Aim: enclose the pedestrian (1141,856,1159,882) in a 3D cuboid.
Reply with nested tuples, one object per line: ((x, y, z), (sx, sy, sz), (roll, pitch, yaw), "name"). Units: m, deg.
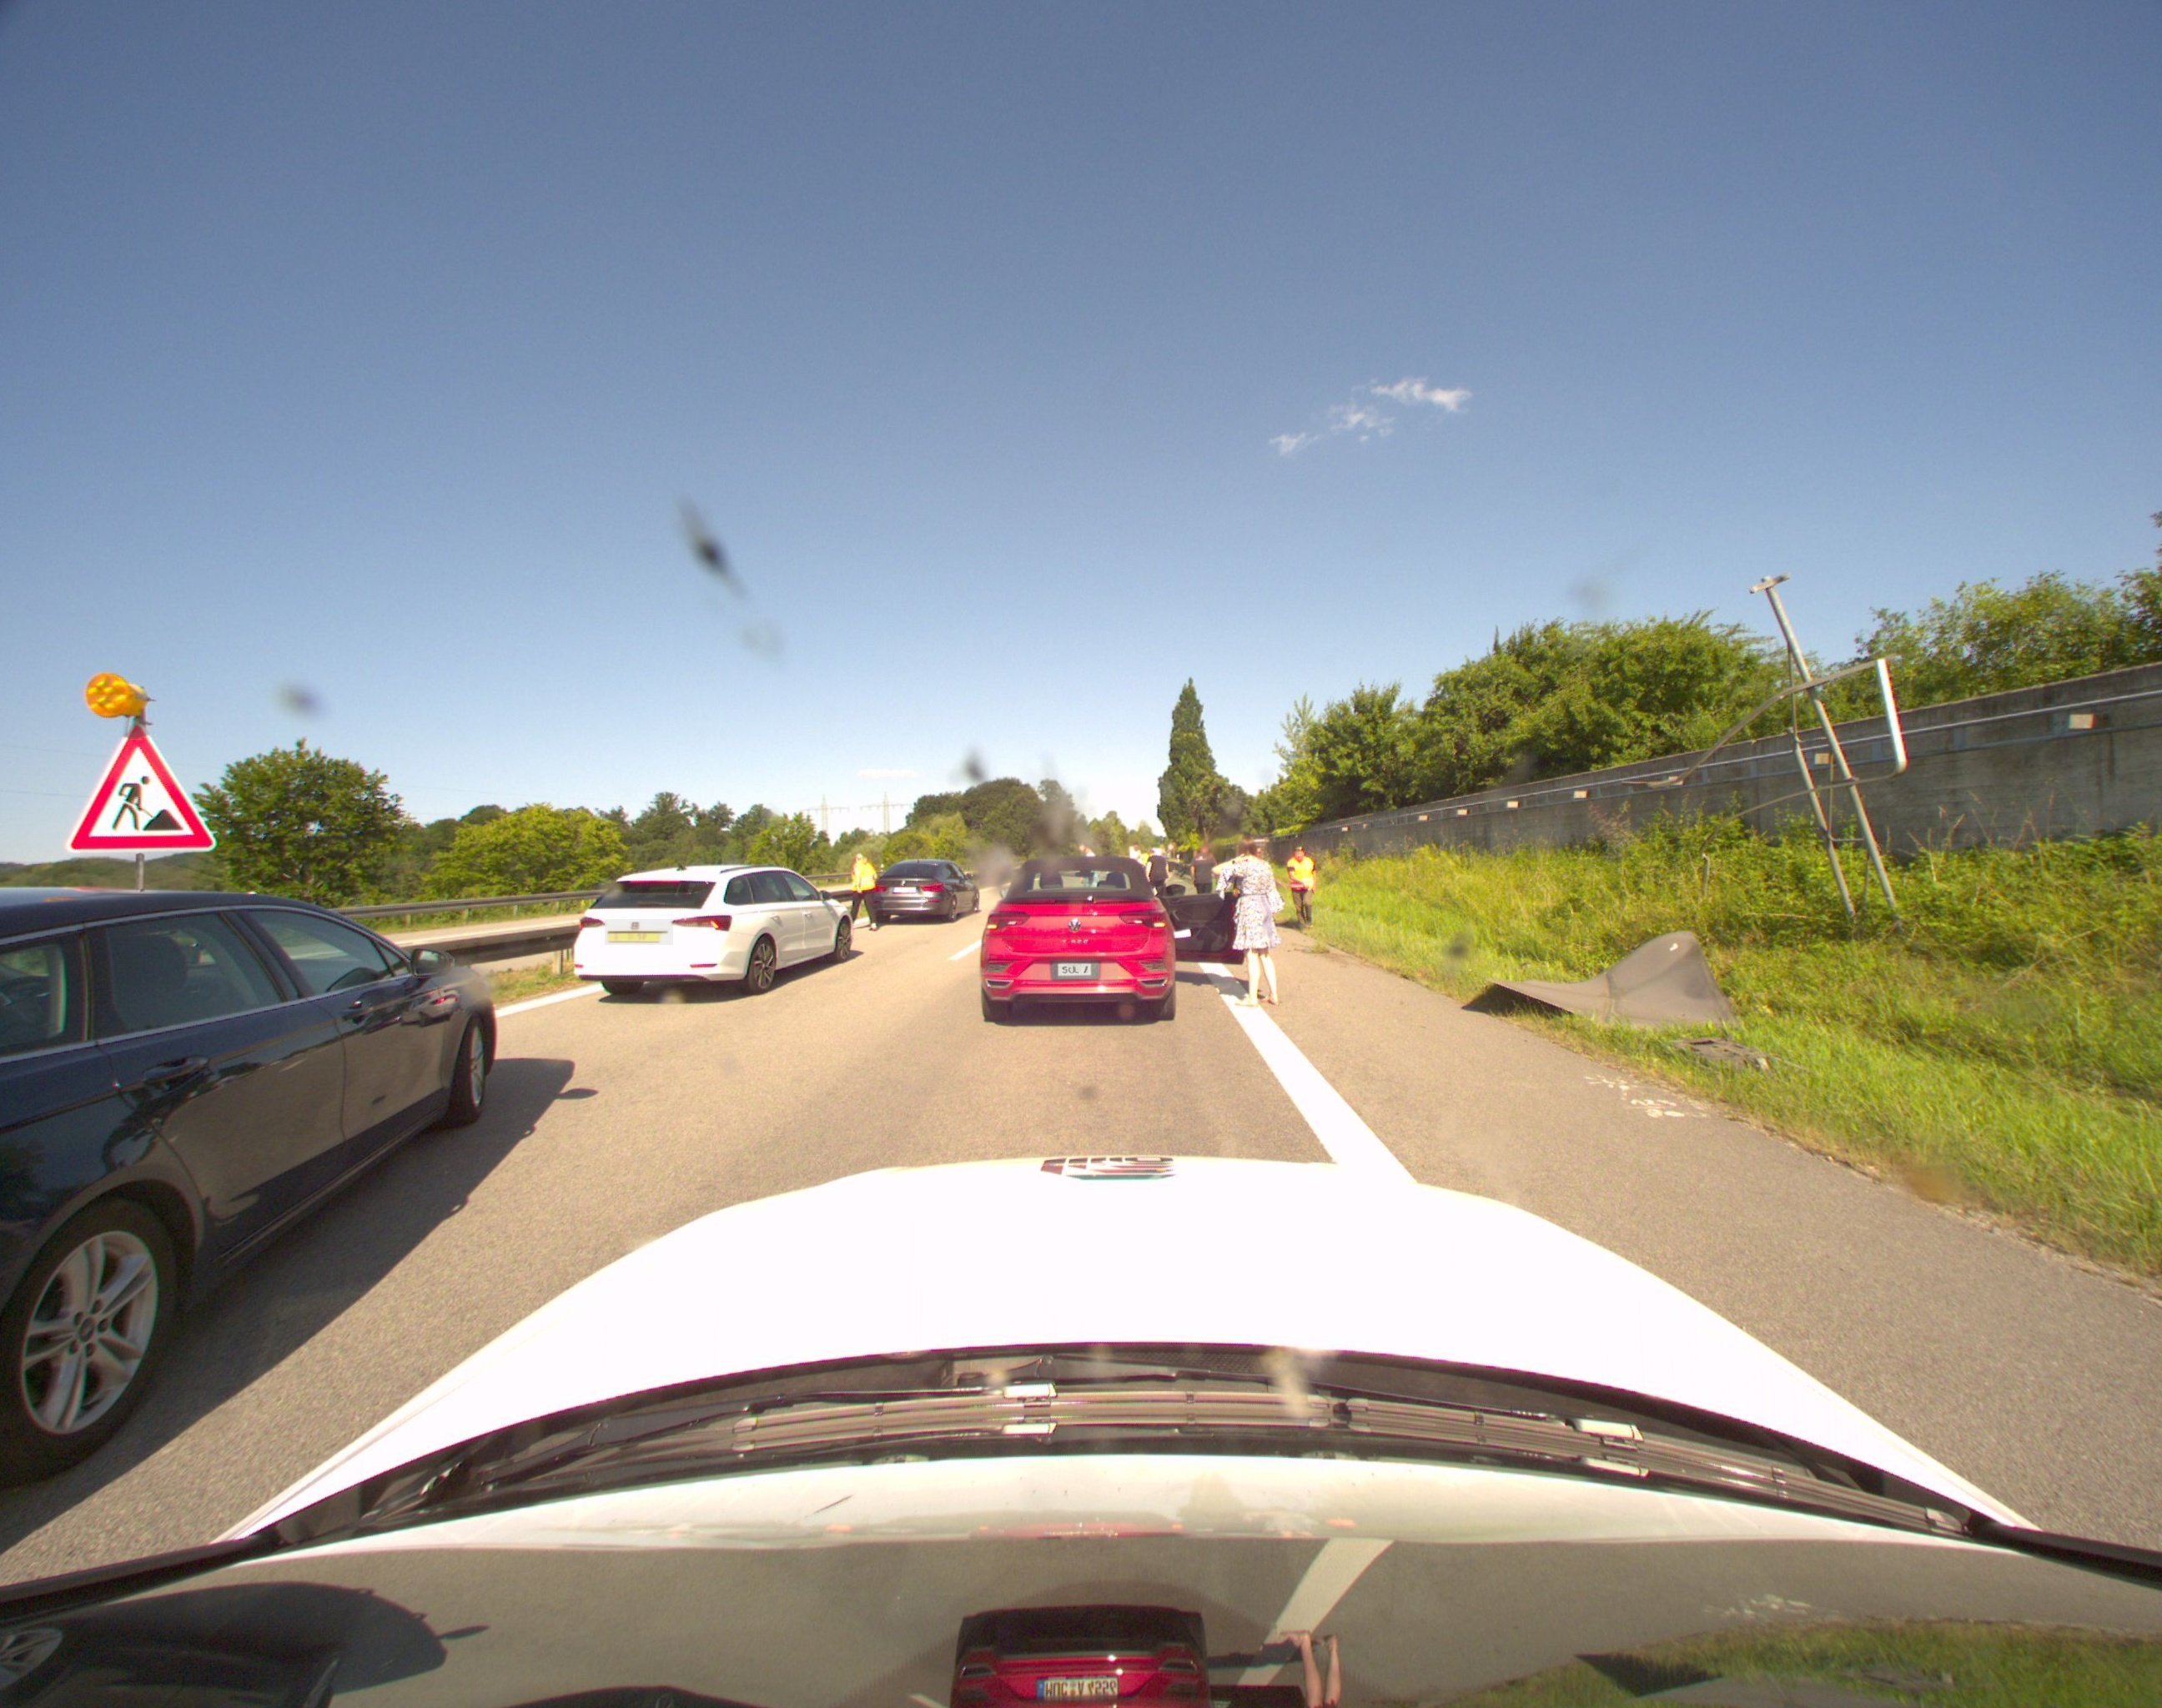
((4.518, 0.950, 53.356), (1.049, 1.689, 1.020), (0, -1, 9), "pedestrian")

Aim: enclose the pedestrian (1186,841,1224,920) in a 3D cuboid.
((2.871, 0.601, 18.813), (0.806, 1.759, 0.831), (0, -1, 12), "pedestrian")

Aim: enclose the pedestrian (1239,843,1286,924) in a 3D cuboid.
((3.945, 0.626, 17.788), (0.891, 1.725, 0.755), (0, -1, 4), "pedestrian")

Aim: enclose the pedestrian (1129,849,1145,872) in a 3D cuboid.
((4.051, 0.469, 58.749), (1.108, 1.689, 0.975), (0, -1, 6), "pedestrian")

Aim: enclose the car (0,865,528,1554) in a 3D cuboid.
((-3.734, 0.818, 2.925), (1.794, 1.493, 4.462), (-2, 0, -20), "car")

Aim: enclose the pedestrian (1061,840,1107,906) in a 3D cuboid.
((0.089, 0.523, 22.692), (1.097, 1.789, 1.094), (0, -1, 9), "pedestrian")

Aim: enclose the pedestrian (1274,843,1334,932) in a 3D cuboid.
((4.351, 0.634, 15.999), (0.952, 1.653, 1.281), (-2, 0, 9), "pedestrian")

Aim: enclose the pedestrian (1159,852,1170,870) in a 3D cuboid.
((8.123, 0.688, 79.024), (0.991, 1.689, 1.012), (0, -1, 6), "pedestrian")

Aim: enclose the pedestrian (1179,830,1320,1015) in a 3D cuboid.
((1.674, 0.640, 8.255), (0.893, 1.695, 1.121), (-2, 0, -20), "pedestrian")

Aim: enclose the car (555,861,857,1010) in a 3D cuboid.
((-4.341, 0.840, 10.268), (1.688, 1.441, 4.213), (-1, 0, 3), "car")

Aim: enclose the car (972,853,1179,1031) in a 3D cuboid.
((0.052, 0.738, 8.941), (1.725, 1.487, 4.213), (-1, 0, 3), "car")

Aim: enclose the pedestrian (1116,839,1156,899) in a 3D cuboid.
((1.822, 0.492, 27.340), (1.104, 1.912, 1.255), (-2, 0, -5), "pedestrian")

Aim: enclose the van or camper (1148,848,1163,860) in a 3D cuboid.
((14.697, 0.023, 160.630), (1.978, 2.316, 4.490), (-1, -1, 18), "van or camper")

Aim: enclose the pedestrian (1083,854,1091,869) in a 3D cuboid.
((0.675, 0.848, 93.211), (0.787, 1.689, 0.794), (0, -1, 7), "pedestrian")

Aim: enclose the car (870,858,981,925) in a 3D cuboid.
((-3.701, 0.842, 20.121), (1.688, 1.426, 4.337), (-1, 0, 3), "car")

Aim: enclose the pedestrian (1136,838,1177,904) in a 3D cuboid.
((2.203, 0.494, 24.040), (1.086, 1.883, 1.069), (-2, 0, 1), "pedestrian")

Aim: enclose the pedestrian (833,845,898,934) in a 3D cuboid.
((-4.542, 0.712, 17.115), (1.047, 1.763, 1.108), (-2, 0, -28), "pedestrian")
